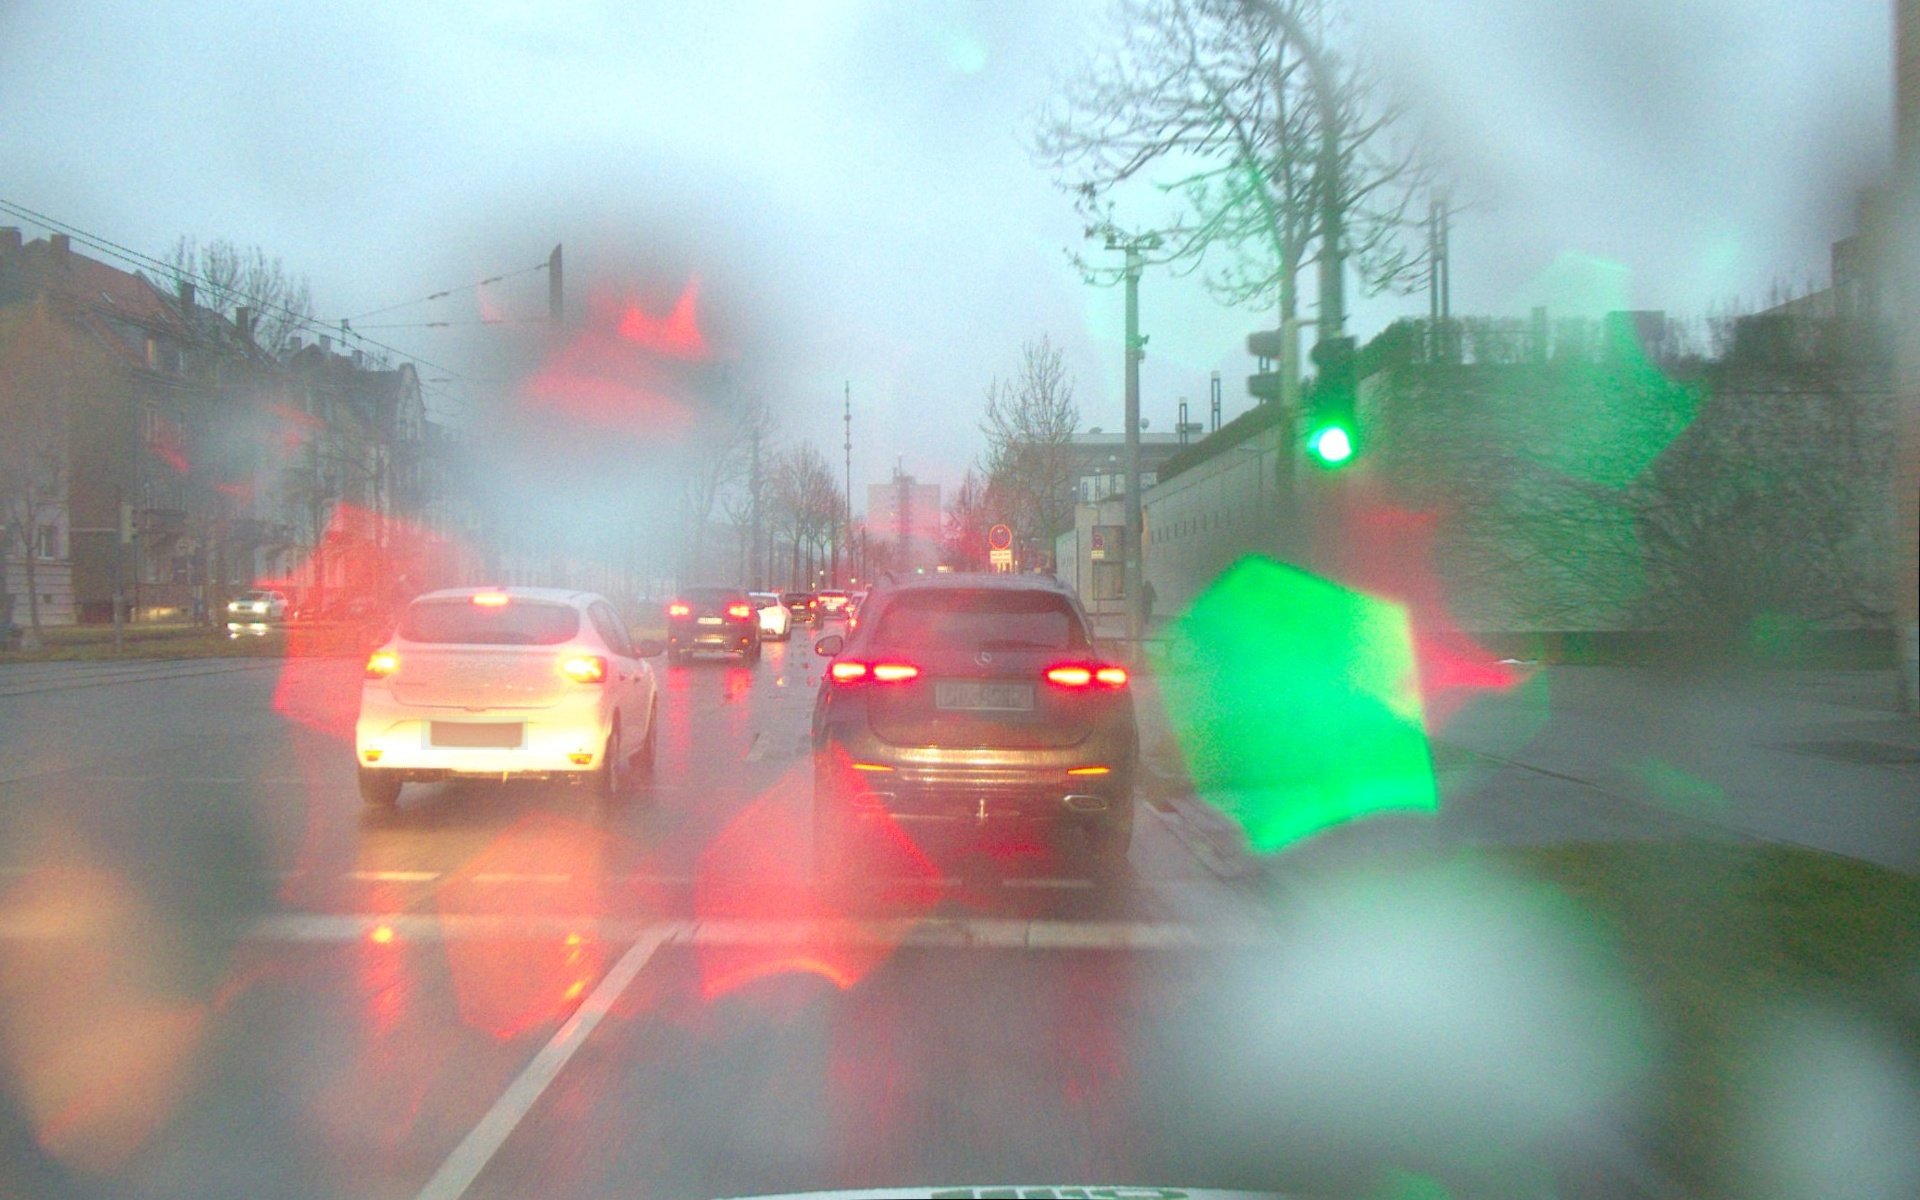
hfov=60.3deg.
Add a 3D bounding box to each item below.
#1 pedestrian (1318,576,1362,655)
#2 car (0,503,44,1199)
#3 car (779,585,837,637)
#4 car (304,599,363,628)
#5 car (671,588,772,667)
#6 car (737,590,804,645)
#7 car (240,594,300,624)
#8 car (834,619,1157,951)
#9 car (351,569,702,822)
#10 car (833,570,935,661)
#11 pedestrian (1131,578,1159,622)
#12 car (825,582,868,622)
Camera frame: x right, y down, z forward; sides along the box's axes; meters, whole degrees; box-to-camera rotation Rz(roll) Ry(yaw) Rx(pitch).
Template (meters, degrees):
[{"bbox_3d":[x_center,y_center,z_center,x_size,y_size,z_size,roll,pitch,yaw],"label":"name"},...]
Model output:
[{"bbox_3d":[8.093,0.318,35.297,0.609,1.639,1.066,-1,0,-4],"label":"pedestrian"},{"bbox_3d":[-2.882,0.606,1.627,1.772,1.628,4.052,0,0,-2],"label":"car"},{"bbox_3d":[-6.325,0.466,69.128,1.952,2.049,4.000,1,-1,1],"label":"car"},{"bbox_3d":[-32.652,0.688,86.297,1.740,1.378,3.556,-1,1,-1],"label":"car"},{"bbox_3d":[-5.138,0.560,36.083,1.638,1.628,4.053,0,0,0],"label":"car"},{"bbox_3d":[-5.862,0.526,51.480,1.638,1.628,4.053,0,0,0],"label":"car"},{"bbox_3d":[-36.823,0.473,88.381,1.740,1.526,3.556,-1,1,-1],"label":"car"},{"bbox_3d":[0.173,0.966,10.441,1.638,1.628,4.053,0,0,0],"label":"car"},{"bbox_3d":[-3.112,0.614,12.708,1.638,1.628,4.053,0,0,0],"label":"car"},{"bbox_3d":[-1.525,0.303,34.573,1.953,1.774,4.000,-1,0,0],"label":"car"},{"bbox_3d":[7.031,-0.007,62.842,0.919,1.646,0.694,-1,0,-4],"label":"pedestrian"},{"bbox_3d":[-6.103,0.117,89.210,1.952,2.049,4.000,1,-1,1],"label":"car"}]
